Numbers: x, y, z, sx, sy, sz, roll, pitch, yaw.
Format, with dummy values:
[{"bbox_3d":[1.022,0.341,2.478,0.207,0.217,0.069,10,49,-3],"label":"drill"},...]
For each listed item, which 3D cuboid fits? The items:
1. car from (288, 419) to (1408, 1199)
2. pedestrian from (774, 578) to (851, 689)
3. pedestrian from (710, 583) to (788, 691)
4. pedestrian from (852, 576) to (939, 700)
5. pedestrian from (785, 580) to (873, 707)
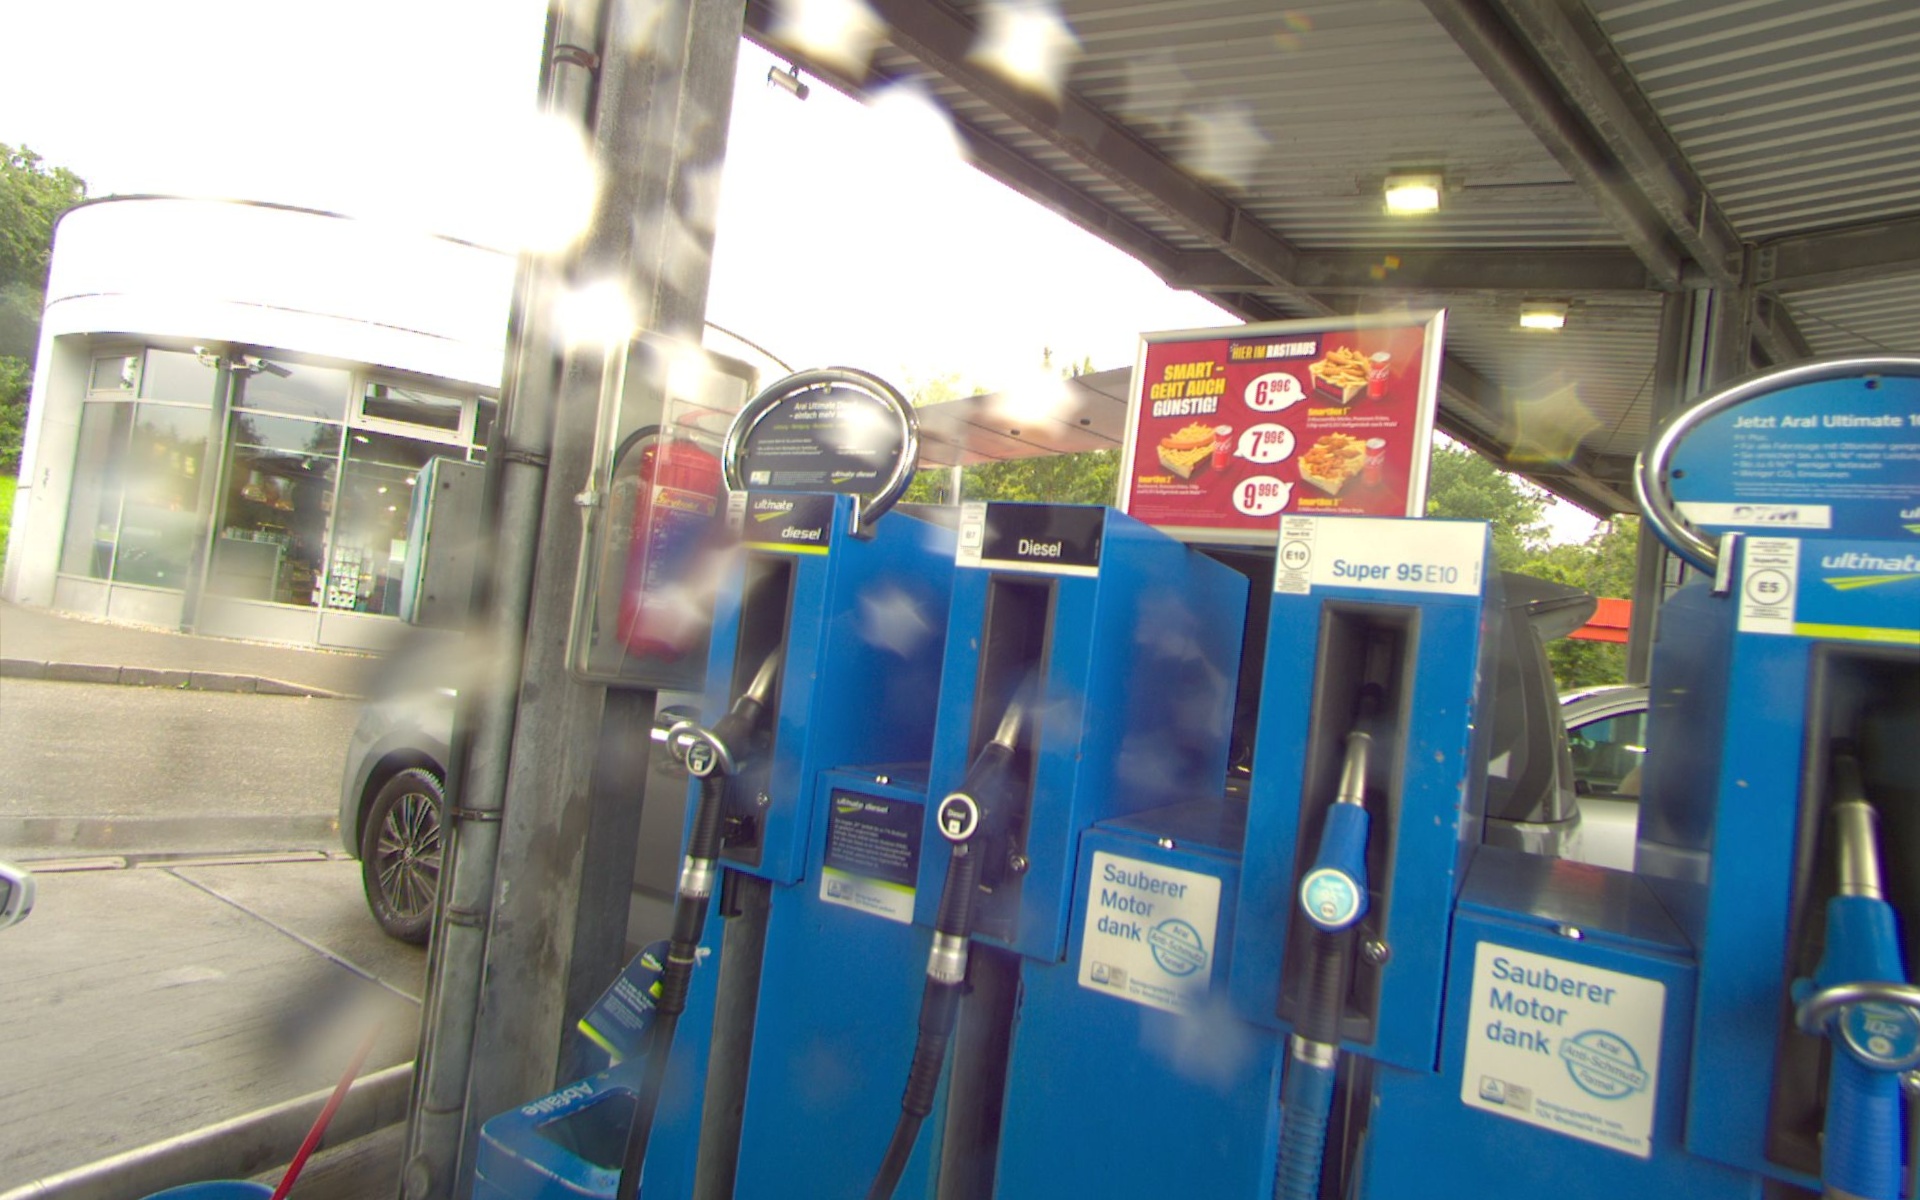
[{"bbox_3d":[-0.586,0.499,3.988,3.934,1.971,1.819,7,-1,32],"label":"car"},{"bbox_3d":[-2.704,0.605,18.406,0.990,1.887,0.793,7,0,-30],"label":"pedestrian"},{"bbox_3d":[-3.310,0.572,15.791,0.882,1.569,0.655,7,0,-29],"label":"pedestrian"},{"bbox_3d":[-1.076,0.638,16.810,0.991,1.917,0.716,7,0,34],"label":"pedestrian"},{"bbox_3d":[-2.092,0.682,16.011,0.965,1.871,0.767,7,0,-30],"label":"pedestrian"}]
